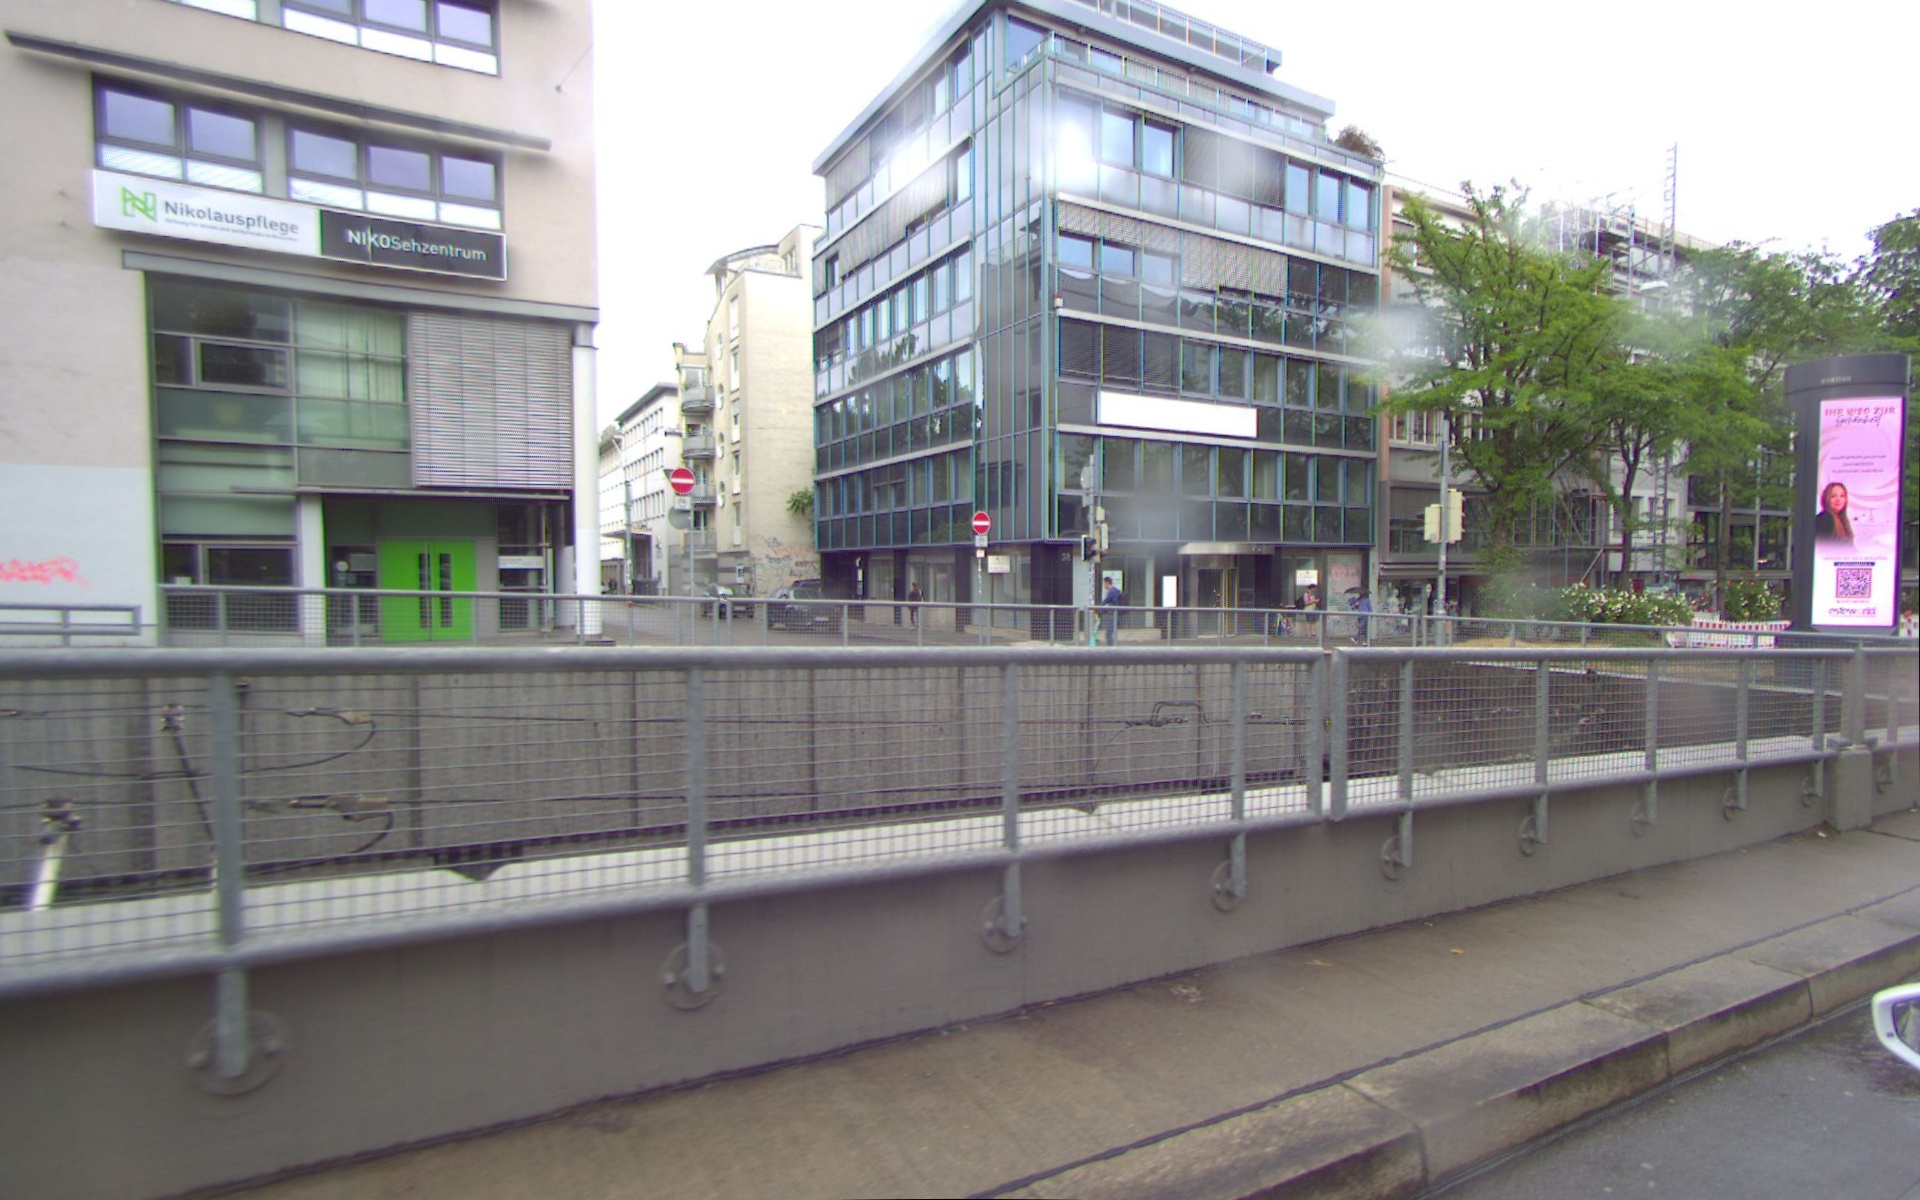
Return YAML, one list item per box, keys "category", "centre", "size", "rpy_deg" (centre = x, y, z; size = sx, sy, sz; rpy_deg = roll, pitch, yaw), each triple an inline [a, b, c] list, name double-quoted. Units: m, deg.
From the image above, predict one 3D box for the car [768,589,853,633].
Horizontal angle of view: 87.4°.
- category: "car"
  centre: [-5.350, 0.360, 35.571]
  size: [1.788, 1.445, 3.868]
  rpy_deg: [1, 0, -28]

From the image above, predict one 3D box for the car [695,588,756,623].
- category: "car"
  centre: [-10.411, 0.213, 44.396]
  size: [1.672, 1.445, 3.868]
  rpy_deg: [1, 0, -28]

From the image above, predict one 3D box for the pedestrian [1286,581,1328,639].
- category: "pedestrian"
  centre: [11.559, 0.331, 33.469]
  size: [0.943, 1.893, 0.865]
  rpy_deg: [1, 1, -11]

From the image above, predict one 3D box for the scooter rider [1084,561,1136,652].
- category: "scooter rider"
  centre: [3.332, 0.145, 22.354]
  size: [0.809, 1.974, 0.808]
  rpy_deg: [1, 2, -16]

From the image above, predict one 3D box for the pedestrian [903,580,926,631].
- category: "pedestrian"
  centre: [-1.543, 0.192, 33.902]
  size: [0.482, 1.694, 0.661]
  rpy_deg: [1, 1, -30]

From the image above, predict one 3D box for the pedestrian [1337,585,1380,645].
- category: "pedestrian"
  centre: [12.763, 0.477, 32.204]
  size: [0.857, 1.893, 0.872]
  rpy_deg: [1, 2, -31]

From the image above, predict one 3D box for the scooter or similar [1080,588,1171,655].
- category: "scooter or similar"
  centre: [3.715, 0.489, 22.536]
  size: [1.924, 1.437, 0.545]
  rpy_deg: [1, 1, -18]
